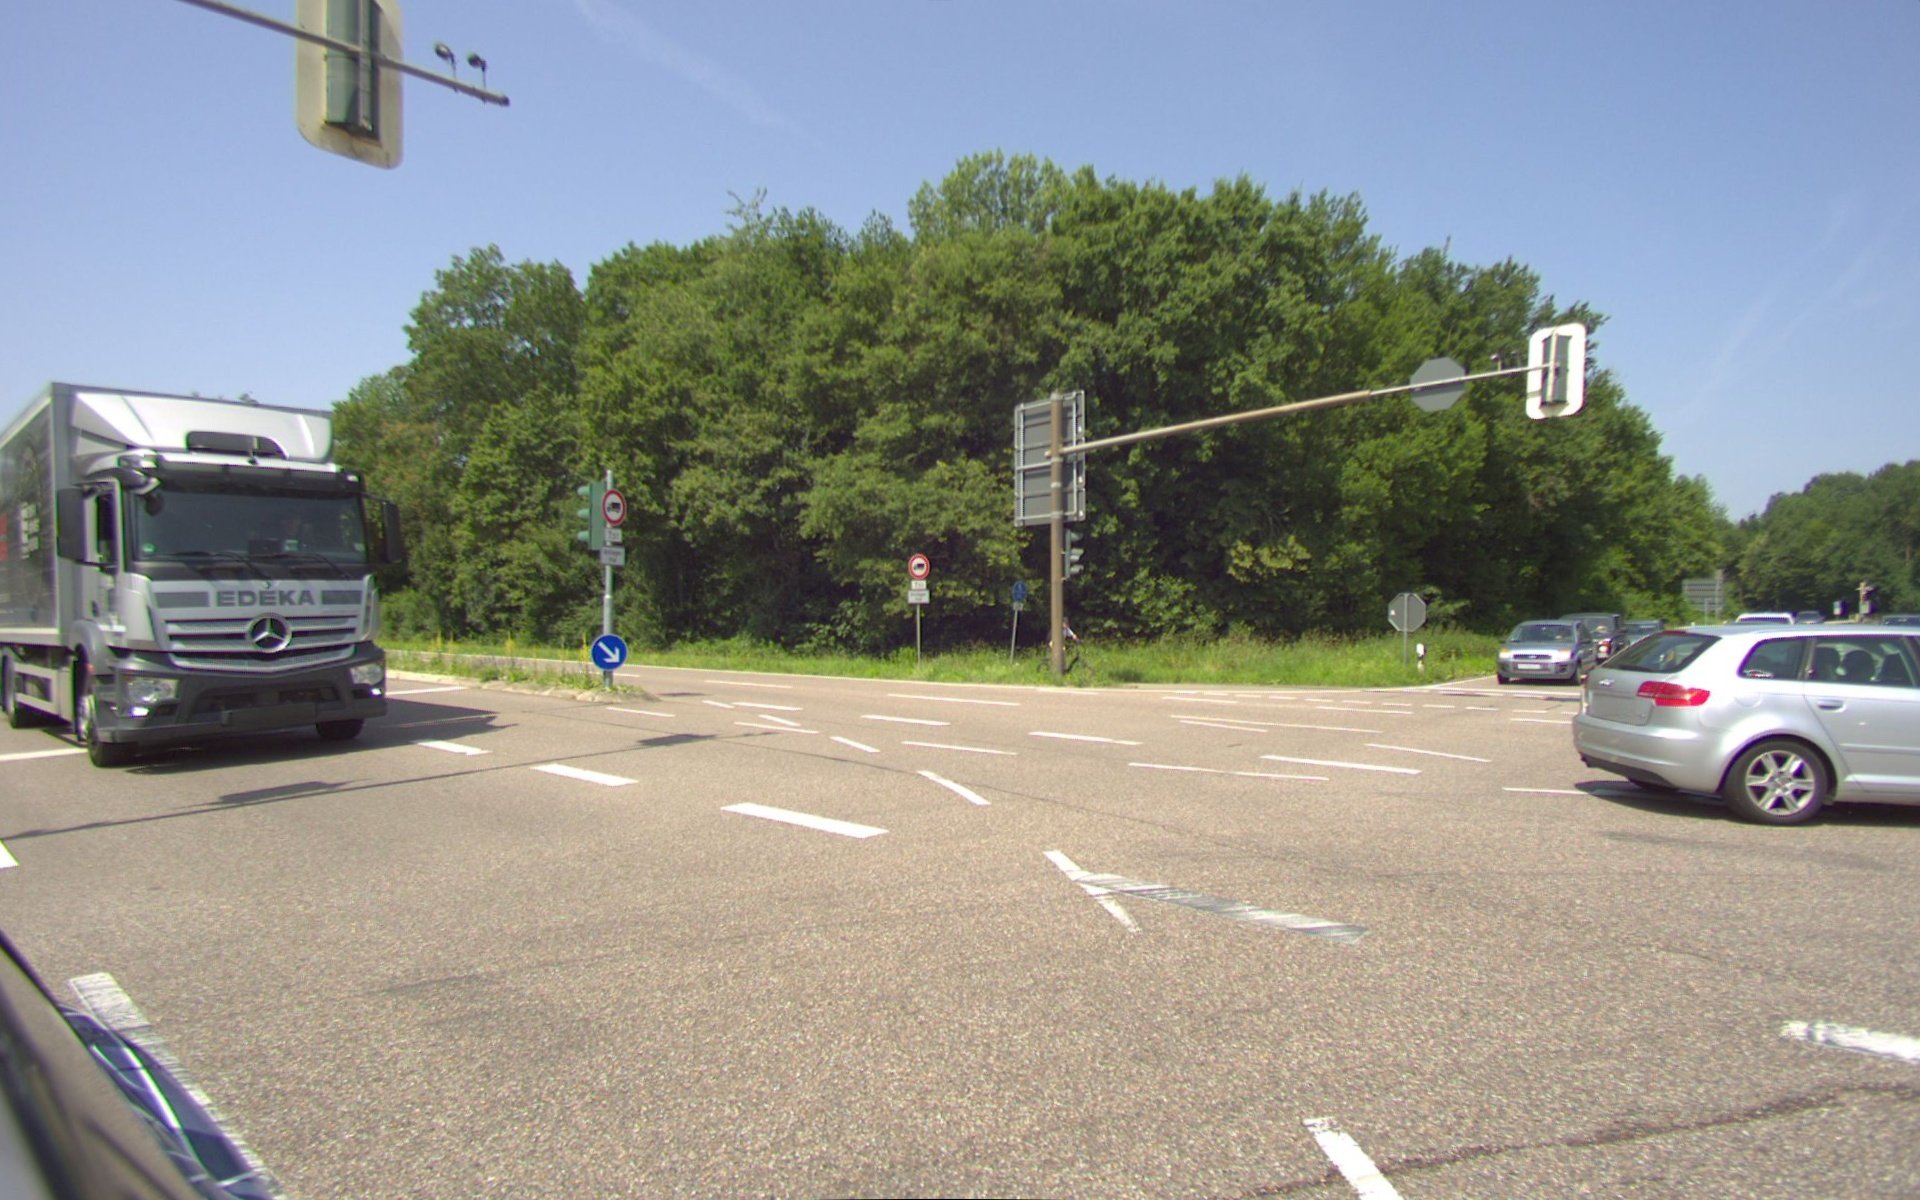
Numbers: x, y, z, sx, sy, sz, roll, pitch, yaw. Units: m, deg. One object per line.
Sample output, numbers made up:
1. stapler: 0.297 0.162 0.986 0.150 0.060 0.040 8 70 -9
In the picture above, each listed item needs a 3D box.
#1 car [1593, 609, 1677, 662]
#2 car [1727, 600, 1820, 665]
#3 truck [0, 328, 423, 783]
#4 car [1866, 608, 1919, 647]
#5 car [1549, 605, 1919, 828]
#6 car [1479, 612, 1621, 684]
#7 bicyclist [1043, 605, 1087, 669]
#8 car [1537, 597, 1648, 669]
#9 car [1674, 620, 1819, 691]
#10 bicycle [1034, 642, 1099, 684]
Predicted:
1. car: 22.571 1.145 33.762 1.871 1.648 4.354 -1 -1 40
2. car: 26.067 0.997 32.360 2.066 1.910 4.754 -1 -1 42
3. truck: -10.954 -0.336 13.433 11.312 3.914 2.718 -1 0 40
4. car: 39.138 1.132 42.136 1.860 1.530 4.757 -1 -1 39
5. car: 6.865 0.770 7.424 3.969 1.402 1.766 -2 0 9
6. car: 14.471 1.087 24.692 2.129 1.579 4.755 -1 -1 41
7. bicyclist: 2.471 0.851 23.871 0.651 1.476 0.811 1 -1 -39
8. car: 18.230 0.908 29.081 1.999 1.912 4.755 -1 -1 41
9. car: 16.596 1.085 21.262 2.105 1.300 4.754 -1 -1 41
10. bicycle: 2.493 1.470 23.822 0.558 0.930 1.608 1 -1 -39
